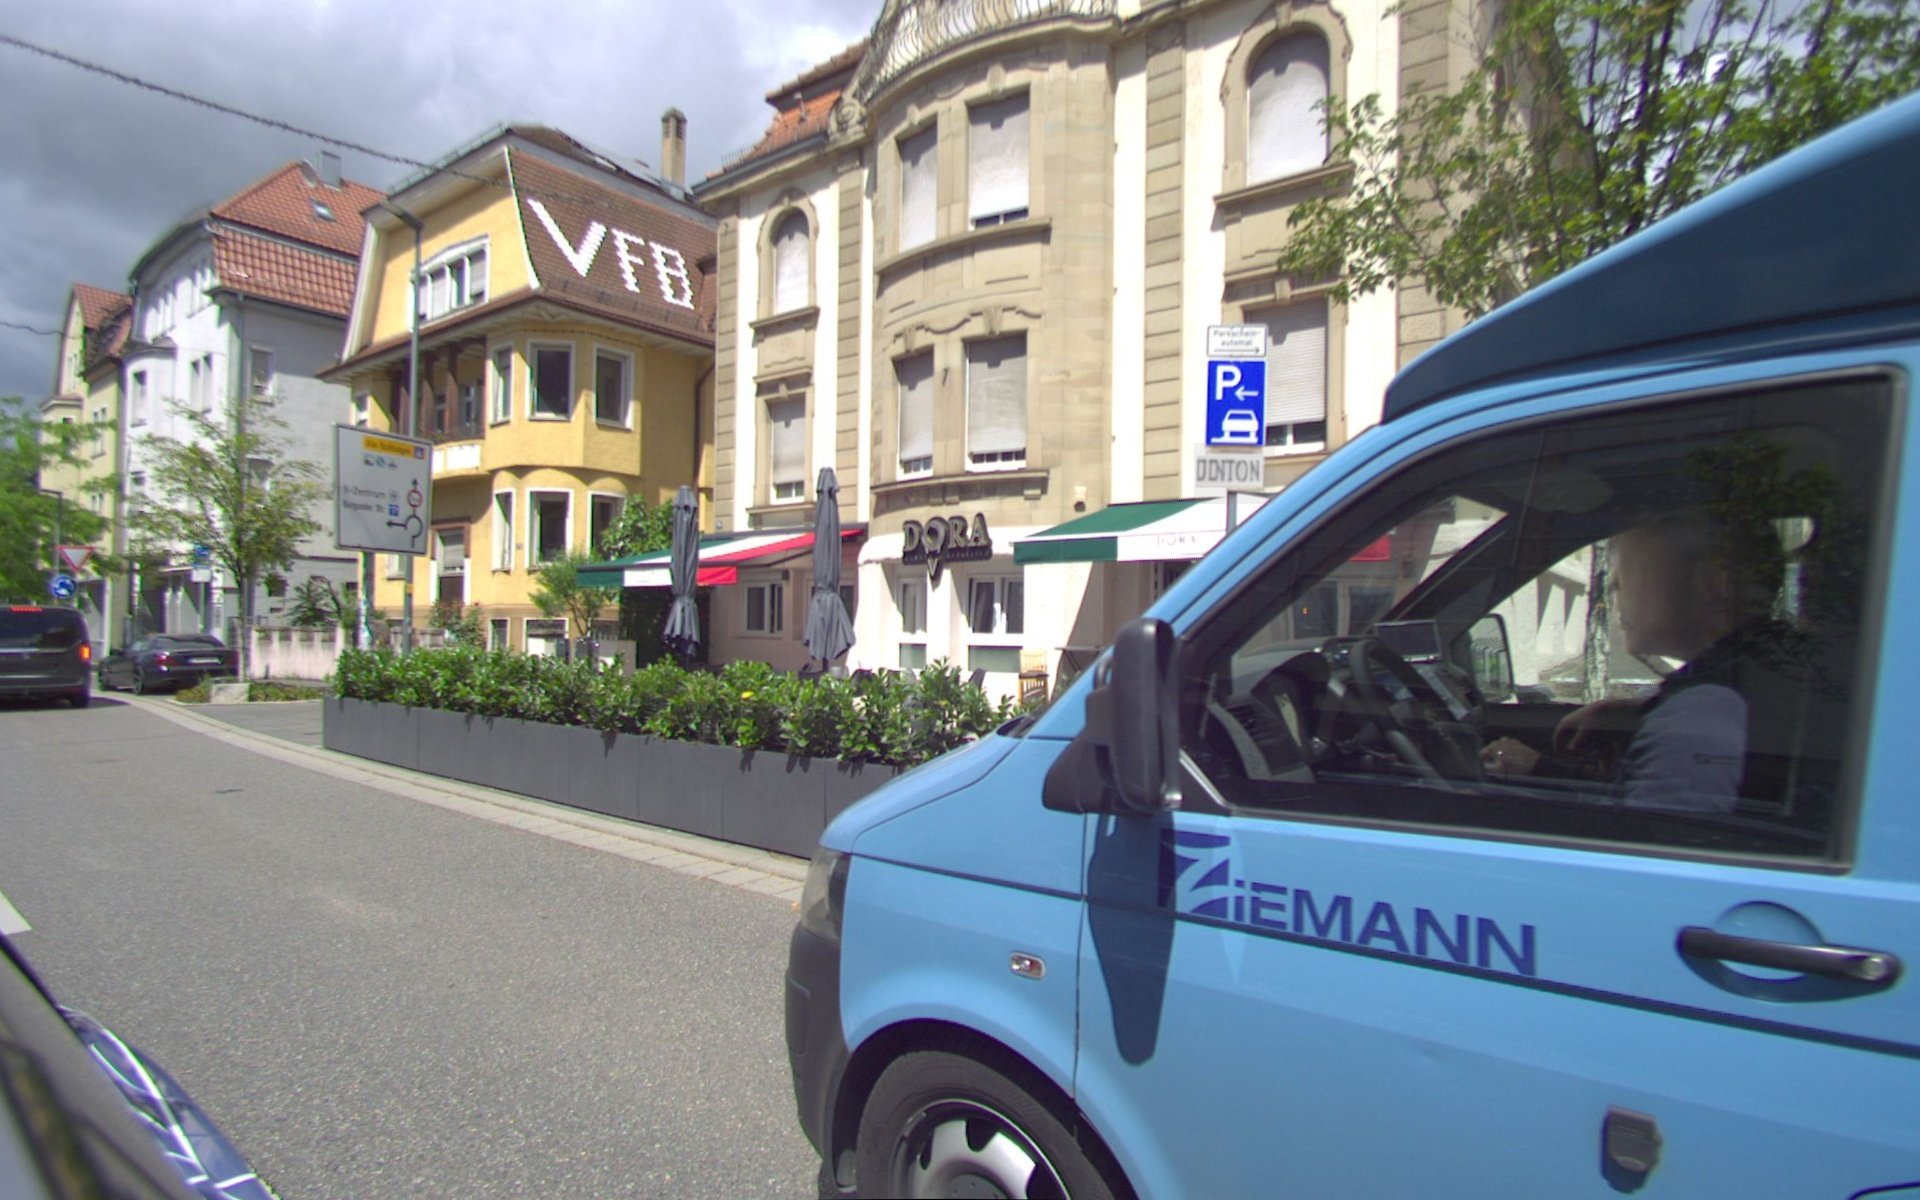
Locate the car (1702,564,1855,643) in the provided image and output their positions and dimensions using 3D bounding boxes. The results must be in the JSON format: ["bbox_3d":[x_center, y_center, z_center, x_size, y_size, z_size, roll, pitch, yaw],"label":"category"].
[{"bbox_3d":[17.683,0.077,22.077,1.847,1.555,3.961,-2,-1,28],"label":"car"}]

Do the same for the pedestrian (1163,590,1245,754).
[{"bbox_3d":[2.778,0.782,11.478,0.795,1.770,0.807,-1,0,21],"label":"pedestrian"}]

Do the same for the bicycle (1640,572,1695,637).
[{"bbox_3d":[16.338,0.107,23.361,1.003,1.461,0.809,0,0,-41],"label":"bicycle"}]

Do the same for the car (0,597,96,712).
[{"bbox_3d":[-17.949,1.017,19.002,5.173,1.948,1.852,-3,-3,41],"label":"car"}]

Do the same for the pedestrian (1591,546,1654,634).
[{"bbox_3d":[15.745,-0.225,24.050,0.958,2.029,1.040,0,0,-42],"label":"pedestrian"}]

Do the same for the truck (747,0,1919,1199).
[{"bbox_3d":[2.685,0.168,0.718,6.472,2.323,2.084,-1,0,41],"label":"truck"}]

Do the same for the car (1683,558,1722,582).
[{"bbox_3d":[52.138,-2.096,71.124,1.995,1.573,4.170,-1,1,34],"label":"car"}]

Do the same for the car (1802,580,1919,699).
[{"bbox_3d":[13.025,0.434,13.462,1.822,1.391,4.196,-1,1,26],"label":"car"}]

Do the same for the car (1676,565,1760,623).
[{"bbox_3d":[22.067,-0.181,29.569,1.828,1.564,4.182,-1,1,36],"label":"car"}]

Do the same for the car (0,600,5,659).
[{"bbox_3d":[-47.035,1.360,47.215,7.254,2.692,2.282,-1,0,36],"label":"car"}]

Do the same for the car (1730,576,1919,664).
[{"bbox_3d":[15.467,0.291,18.160,1.822,1.391,4.196,-1,1,26],"label":"car"}]

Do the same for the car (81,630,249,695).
[{"bbox_3d":[-17.666,1.361,22.435,4.455,1.314,1.702,-2,-3,35],"label":"car"}]
